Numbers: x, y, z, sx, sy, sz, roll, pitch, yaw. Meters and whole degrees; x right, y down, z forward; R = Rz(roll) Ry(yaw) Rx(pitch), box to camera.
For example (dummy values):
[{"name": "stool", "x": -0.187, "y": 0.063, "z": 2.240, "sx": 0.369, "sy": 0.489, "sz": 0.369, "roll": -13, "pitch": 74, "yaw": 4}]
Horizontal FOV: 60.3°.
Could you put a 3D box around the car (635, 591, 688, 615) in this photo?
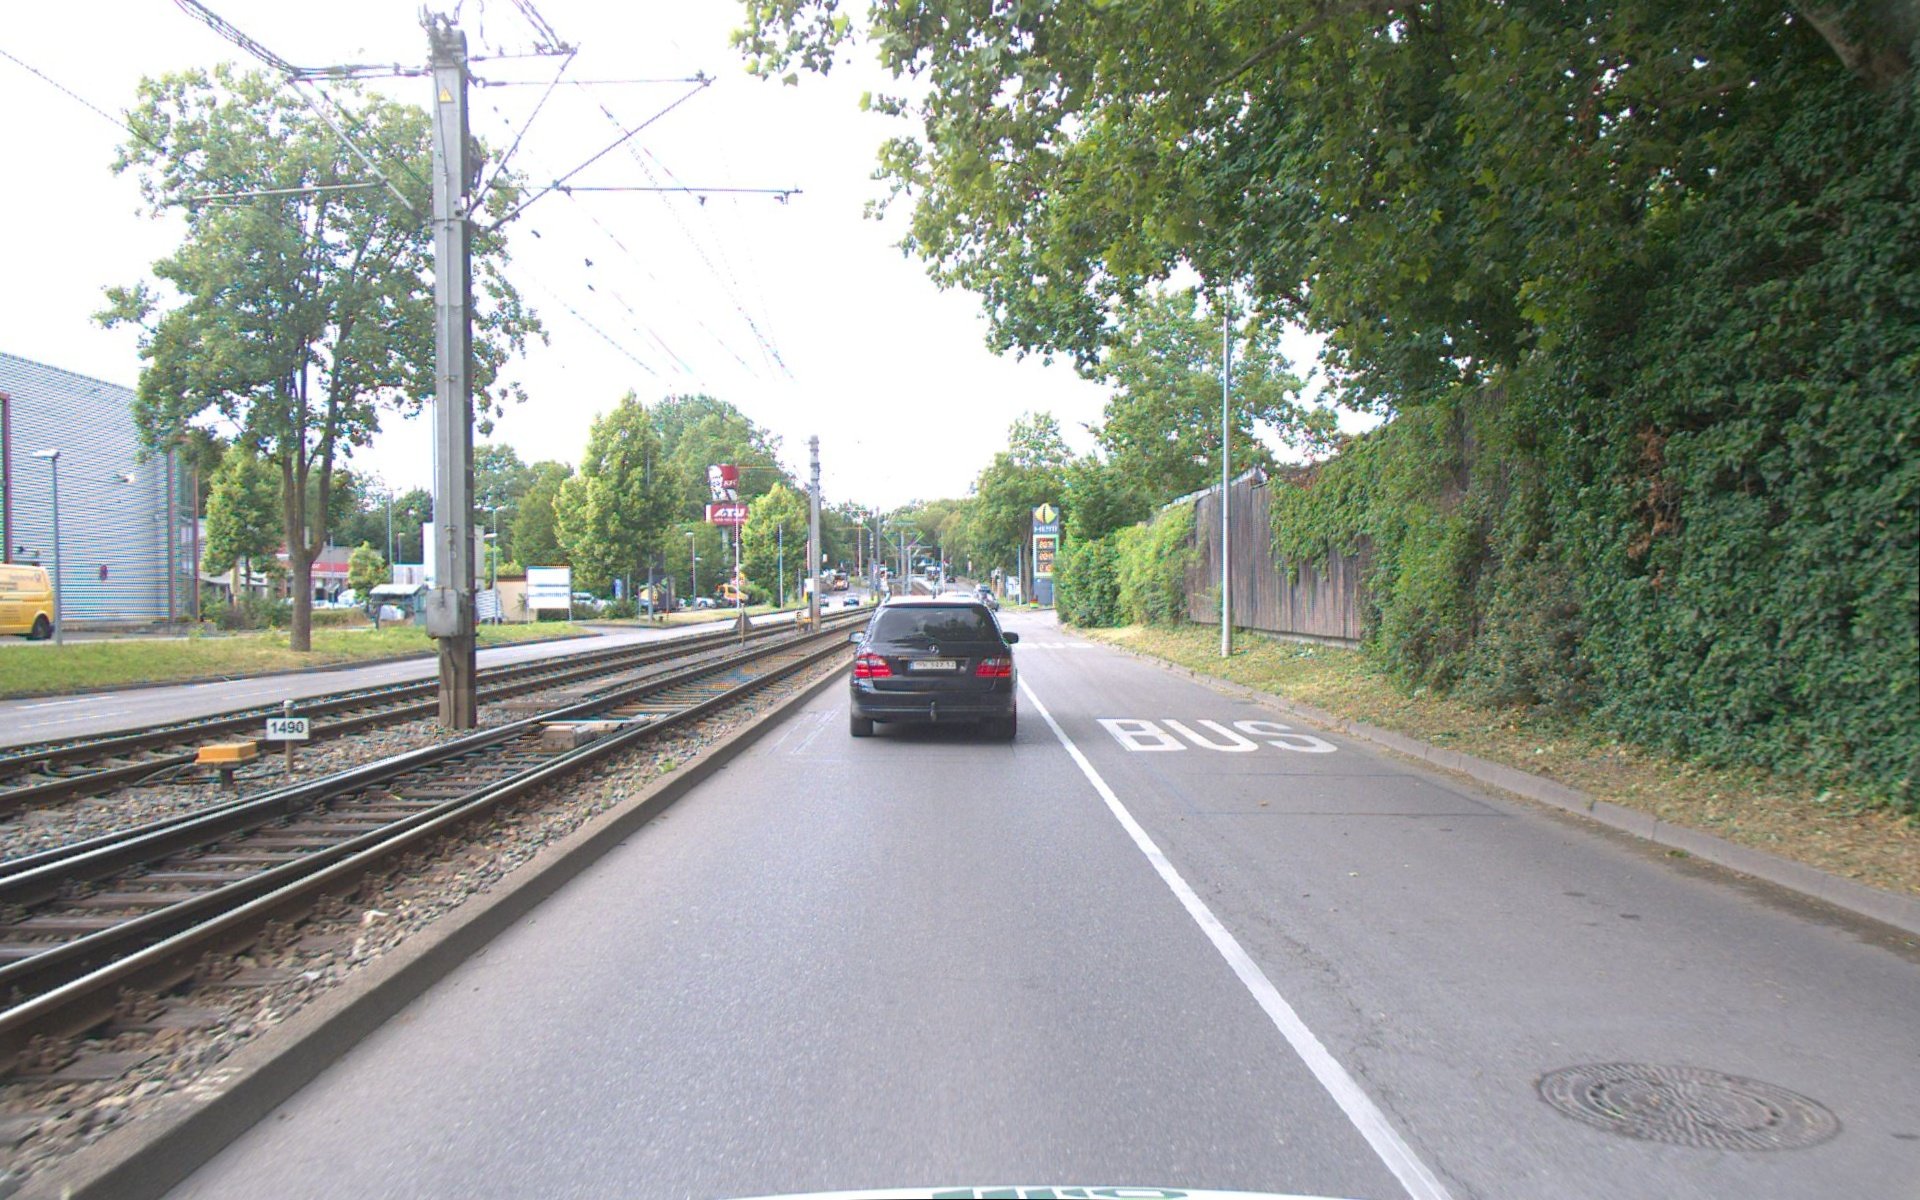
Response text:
[{"name": "car", "x": -23.689, "y": 0.247, "z": 131.332, "sx": 3.909, "sy": 1.829, "sz": 1.876, "roll": -1, "pitch": 0, "yaw": -5}]

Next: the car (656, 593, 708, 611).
[{"name": "car", "x": -24.313, "y": 0.201, "z": 144.709, "sx": 4.220, "sy": 1.497, "sz": 1.679, "roll": -1, "pitch": 0, "yaw": -3}]

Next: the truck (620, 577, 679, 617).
[{"name": "truck", "x": -22.841, "y": -0.224, "z": 121.888, "sx": 3.907, "sy": 2.871, "sz": 2.375, "roll": -1, "pitch": 0, "yaw": -3}]

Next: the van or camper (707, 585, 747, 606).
[{"name": "van or camper", "x": -24.123, "y": -0.480, "z": 171.186, "sx": 3.909, "sy": 2.172, "sz": 1.876, "roll": -1, "pitch": 0, "yaw": -5}]

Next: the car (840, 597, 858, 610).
[{"name": "car", "x": -12.726, "y": 0.384, "z": 189.468, "sx": 1.723, "sy": 1.425, "sz": 4.442, "roll": -3, "pitch": 0, "yaw": -1}]

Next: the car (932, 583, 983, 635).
[{"name": "car", "x": -0.102, "y": 0.342, "z": 59.911, "sx": 1.744, "sy": 1.781, "sz": 3.717, "roll": 1, "pitch": 0, "yaw": 0}]

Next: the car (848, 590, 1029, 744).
[{"name": "car", "x": -0.219, "y": 0.652, "z": 18.223, "sx": 1.771, "sy": 1.500, "sz": 3.880, "roll": 0, "pitch": 0, "yaw": 0}]

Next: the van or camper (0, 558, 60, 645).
[{"name": "van or camper", "x": -23.749, "y": 0.044, "z": 39.353, "sx": 2.061, "sy": 2.049, "sz": 5.239, "roll": 0, "pitch": 0, "yaw": -3}]

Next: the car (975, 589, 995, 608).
[{"name": "car", "x": 1.991, "y": -0.110, "z": 131.537, "sx": 1.539, "sy": 1.439, "sz": 3.354, "roll": 1, "pitch": 0, "yaw": 0}]

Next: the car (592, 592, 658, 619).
[{"name": "car", "x": -22.850, "y": 0.356, "z": 112.933, "sx": 4.135, "sy": 1.757, "sz": 1.995, "roll": -1, "pitch": 0, "yaw": -2}]
